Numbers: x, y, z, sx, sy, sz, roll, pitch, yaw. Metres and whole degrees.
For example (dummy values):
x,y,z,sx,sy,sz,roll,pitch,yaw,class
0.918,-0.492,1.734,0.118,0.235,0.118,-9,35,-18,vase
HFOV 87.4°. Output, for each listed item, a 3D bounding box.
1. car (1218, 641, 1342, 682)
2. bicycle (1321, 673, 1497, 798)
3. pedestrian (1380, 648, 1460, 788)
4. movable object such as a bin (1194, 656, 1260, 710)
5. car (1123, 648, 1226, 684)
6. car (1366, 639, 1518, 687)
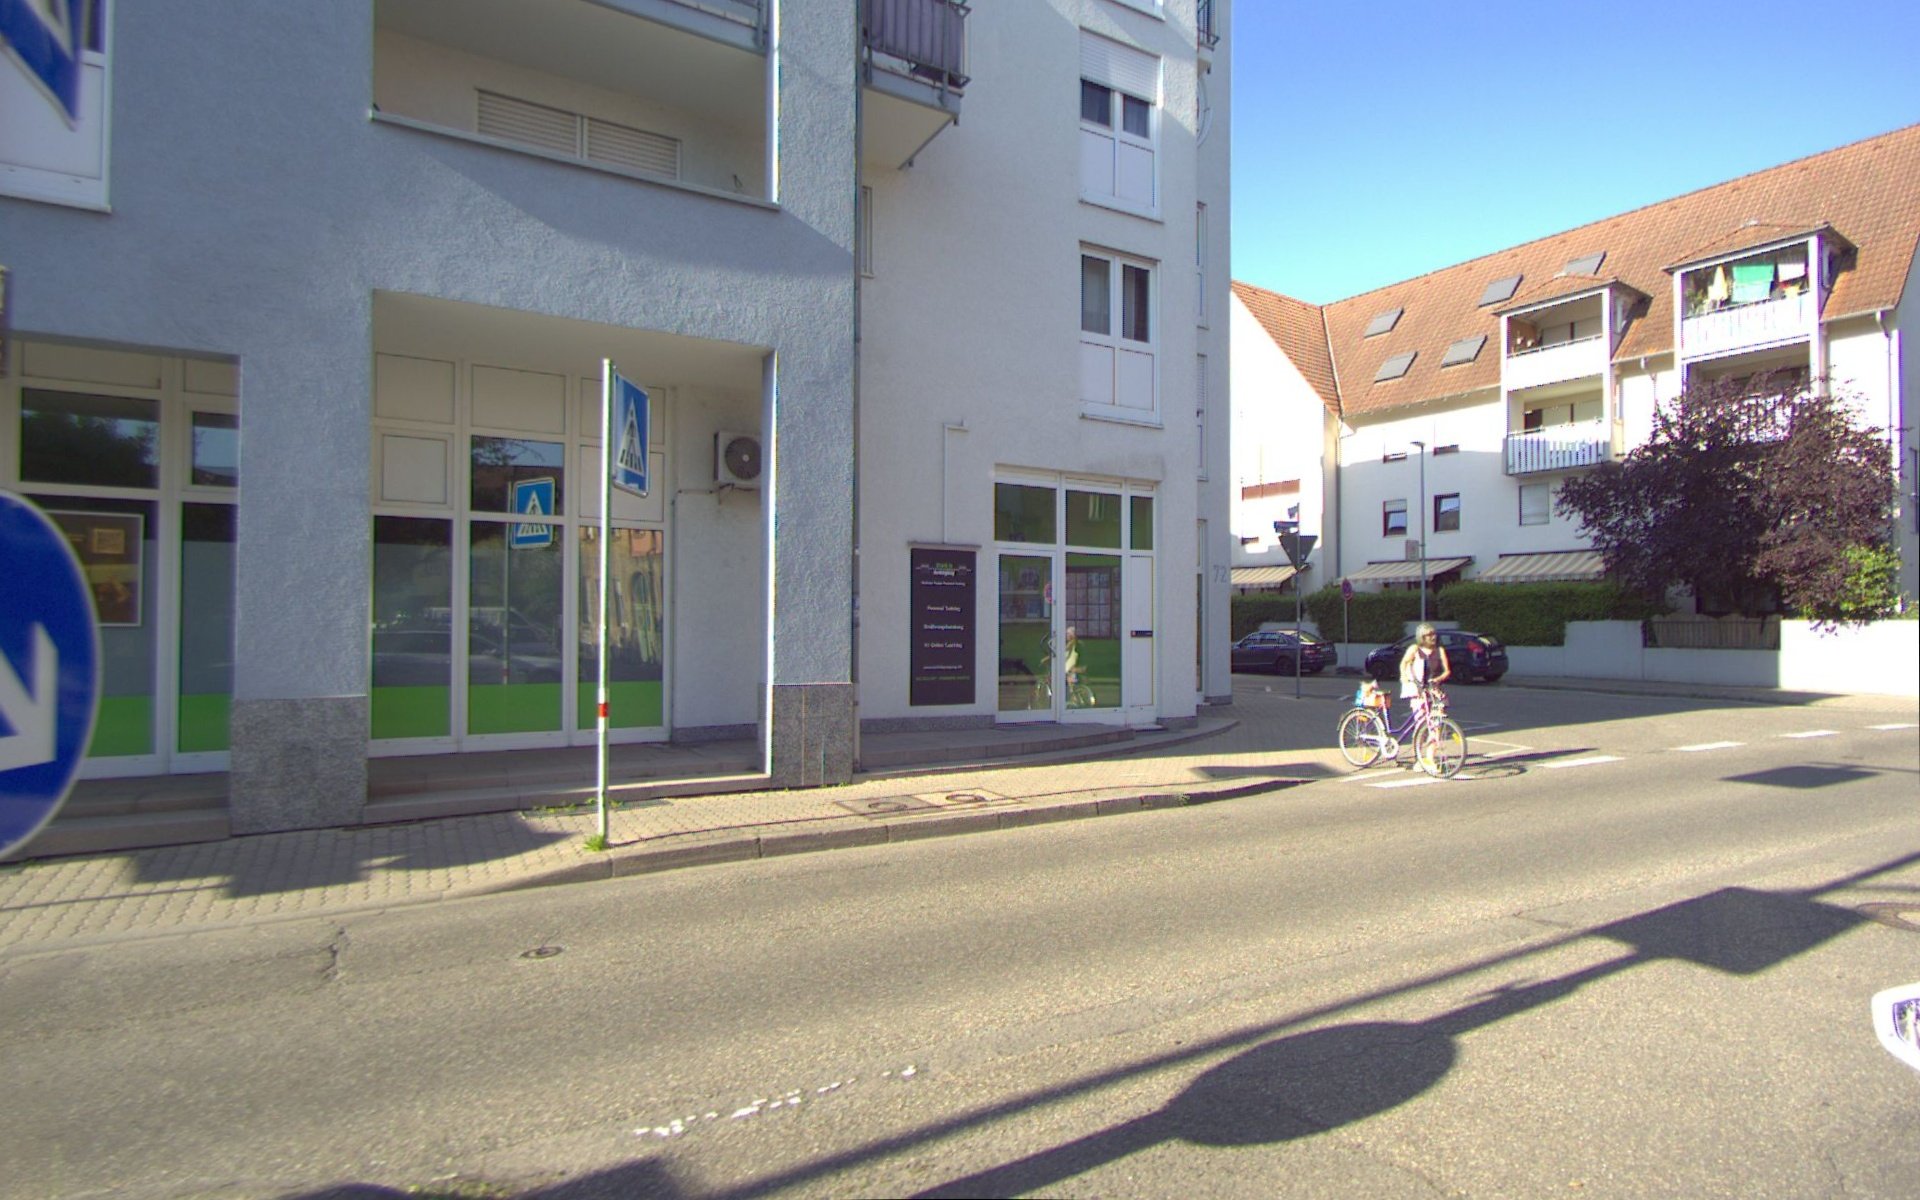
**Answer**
x,y,z,sx,sy,sz,roll,pitch,yaw,class
10.450,2.012,33.031,1.659,1.196,3.655,-1,-2,-32,car
4.933,1.445,11.163,0.591,1.200,1.780,-1,-2,-28,bicycle
5.188,1.302,11.325,0.595,1.492,0.554,0,-1,-33,pedestrian
6.245,1.926,23.532,0.883,1.180,1.211,-1,-1,-34,movable object such as a bin
7.858,2.428,36.992,1.586,1.196,3.655,-1,-2,-32,car
13.473,1.752,28.265,1.599,1.196,3.521,-1,-2,-32,car
